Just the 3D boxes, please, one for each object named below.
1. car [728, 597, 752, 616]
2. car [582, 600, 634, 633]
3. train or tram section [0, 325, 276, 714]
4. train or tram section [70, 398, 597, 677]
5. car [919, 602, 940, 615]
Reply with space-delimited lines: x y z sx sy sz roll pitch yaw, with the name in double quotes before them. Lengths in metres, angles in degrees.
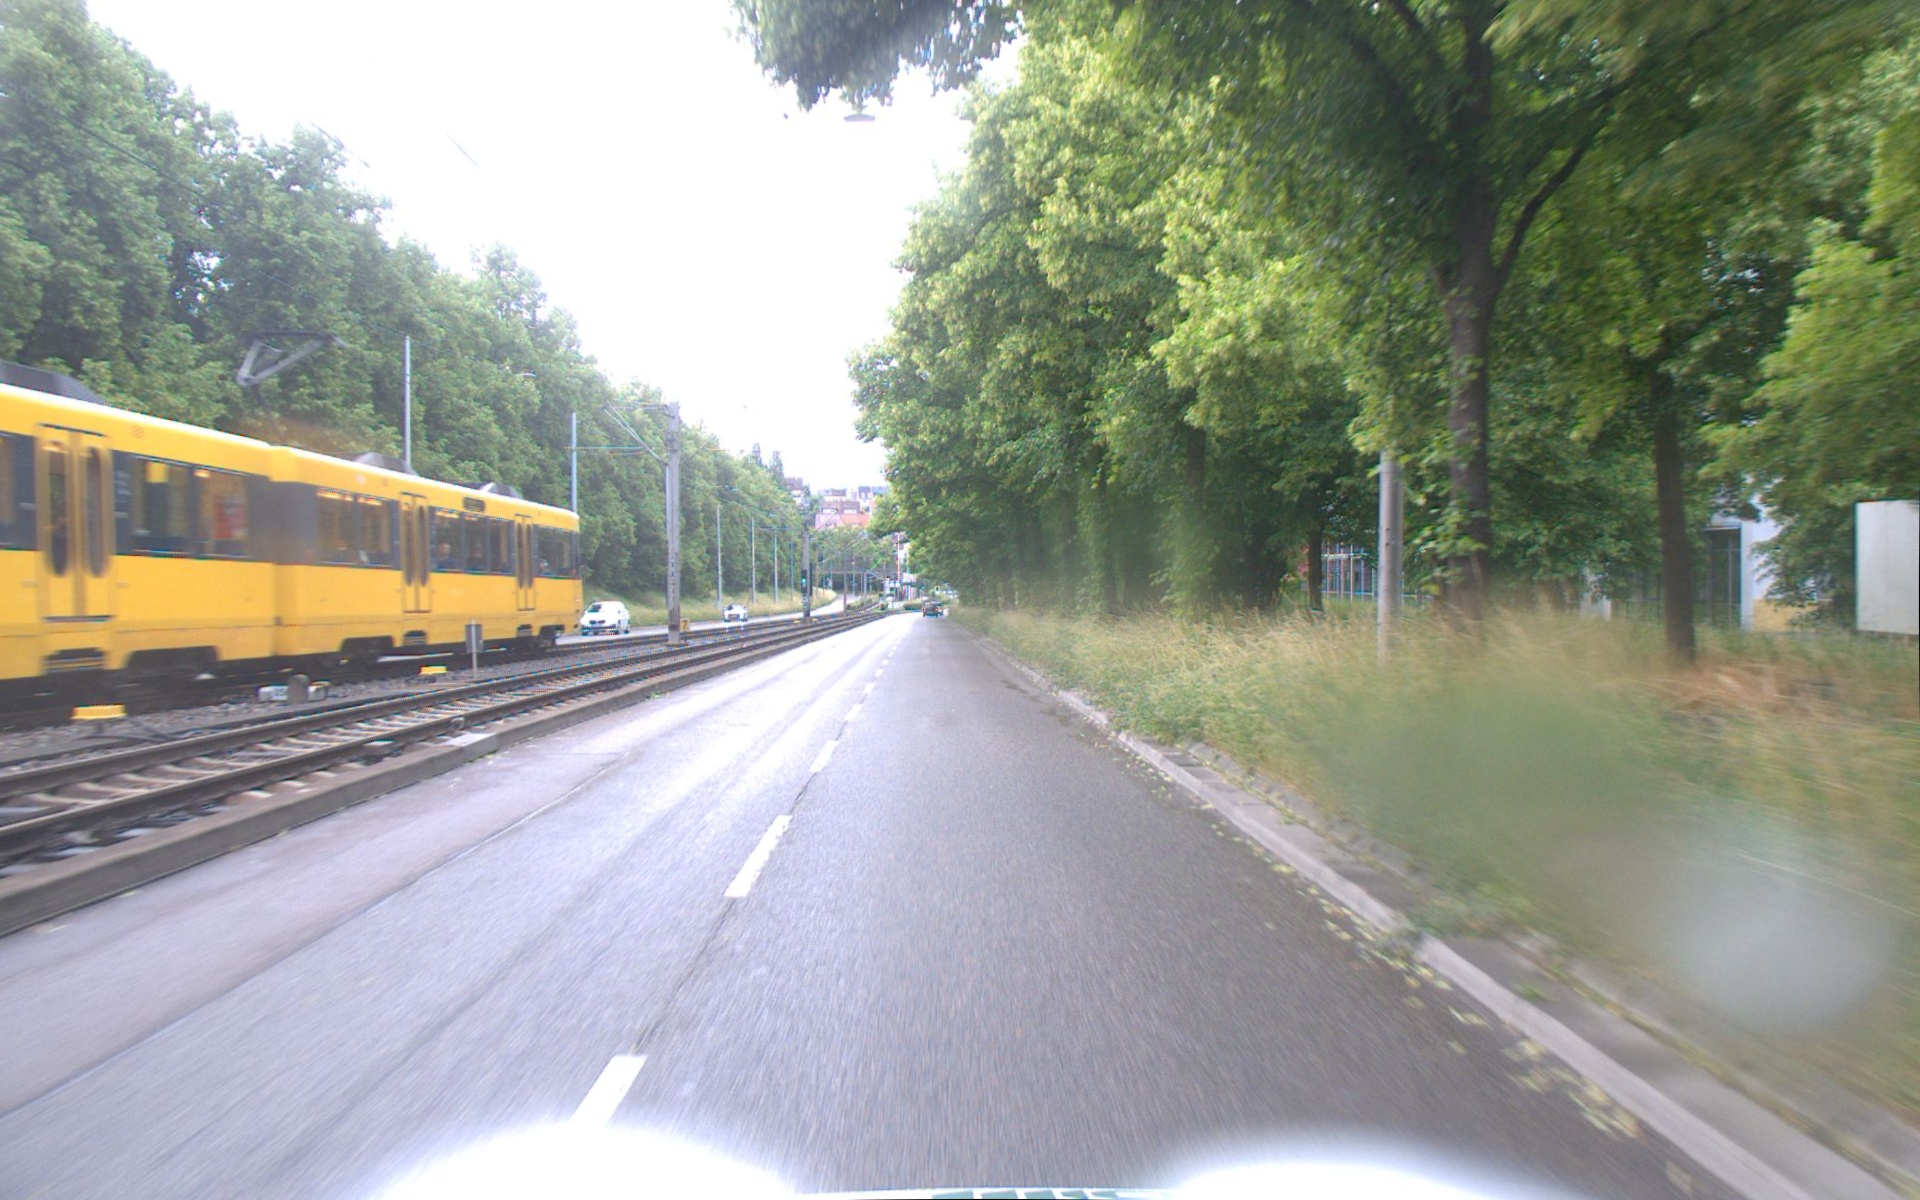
"car" -18.290 0.549 137.456 1.446 1.461 3.908 -2 0 -1
"car" -17.002 0.776 80.037 1.619 1.556 4.380 0 0 -1
"train or tram section" -11.046 -0.777 13.459 2.906 3.877 19.099 0 1 0
"train or tram section" -10.885 -0.958 32.839 2.906 3.877 19.521 0 1 0
"car" -3.259 0.920 177.033 2.149 1.352 3.999 1 1 -2
